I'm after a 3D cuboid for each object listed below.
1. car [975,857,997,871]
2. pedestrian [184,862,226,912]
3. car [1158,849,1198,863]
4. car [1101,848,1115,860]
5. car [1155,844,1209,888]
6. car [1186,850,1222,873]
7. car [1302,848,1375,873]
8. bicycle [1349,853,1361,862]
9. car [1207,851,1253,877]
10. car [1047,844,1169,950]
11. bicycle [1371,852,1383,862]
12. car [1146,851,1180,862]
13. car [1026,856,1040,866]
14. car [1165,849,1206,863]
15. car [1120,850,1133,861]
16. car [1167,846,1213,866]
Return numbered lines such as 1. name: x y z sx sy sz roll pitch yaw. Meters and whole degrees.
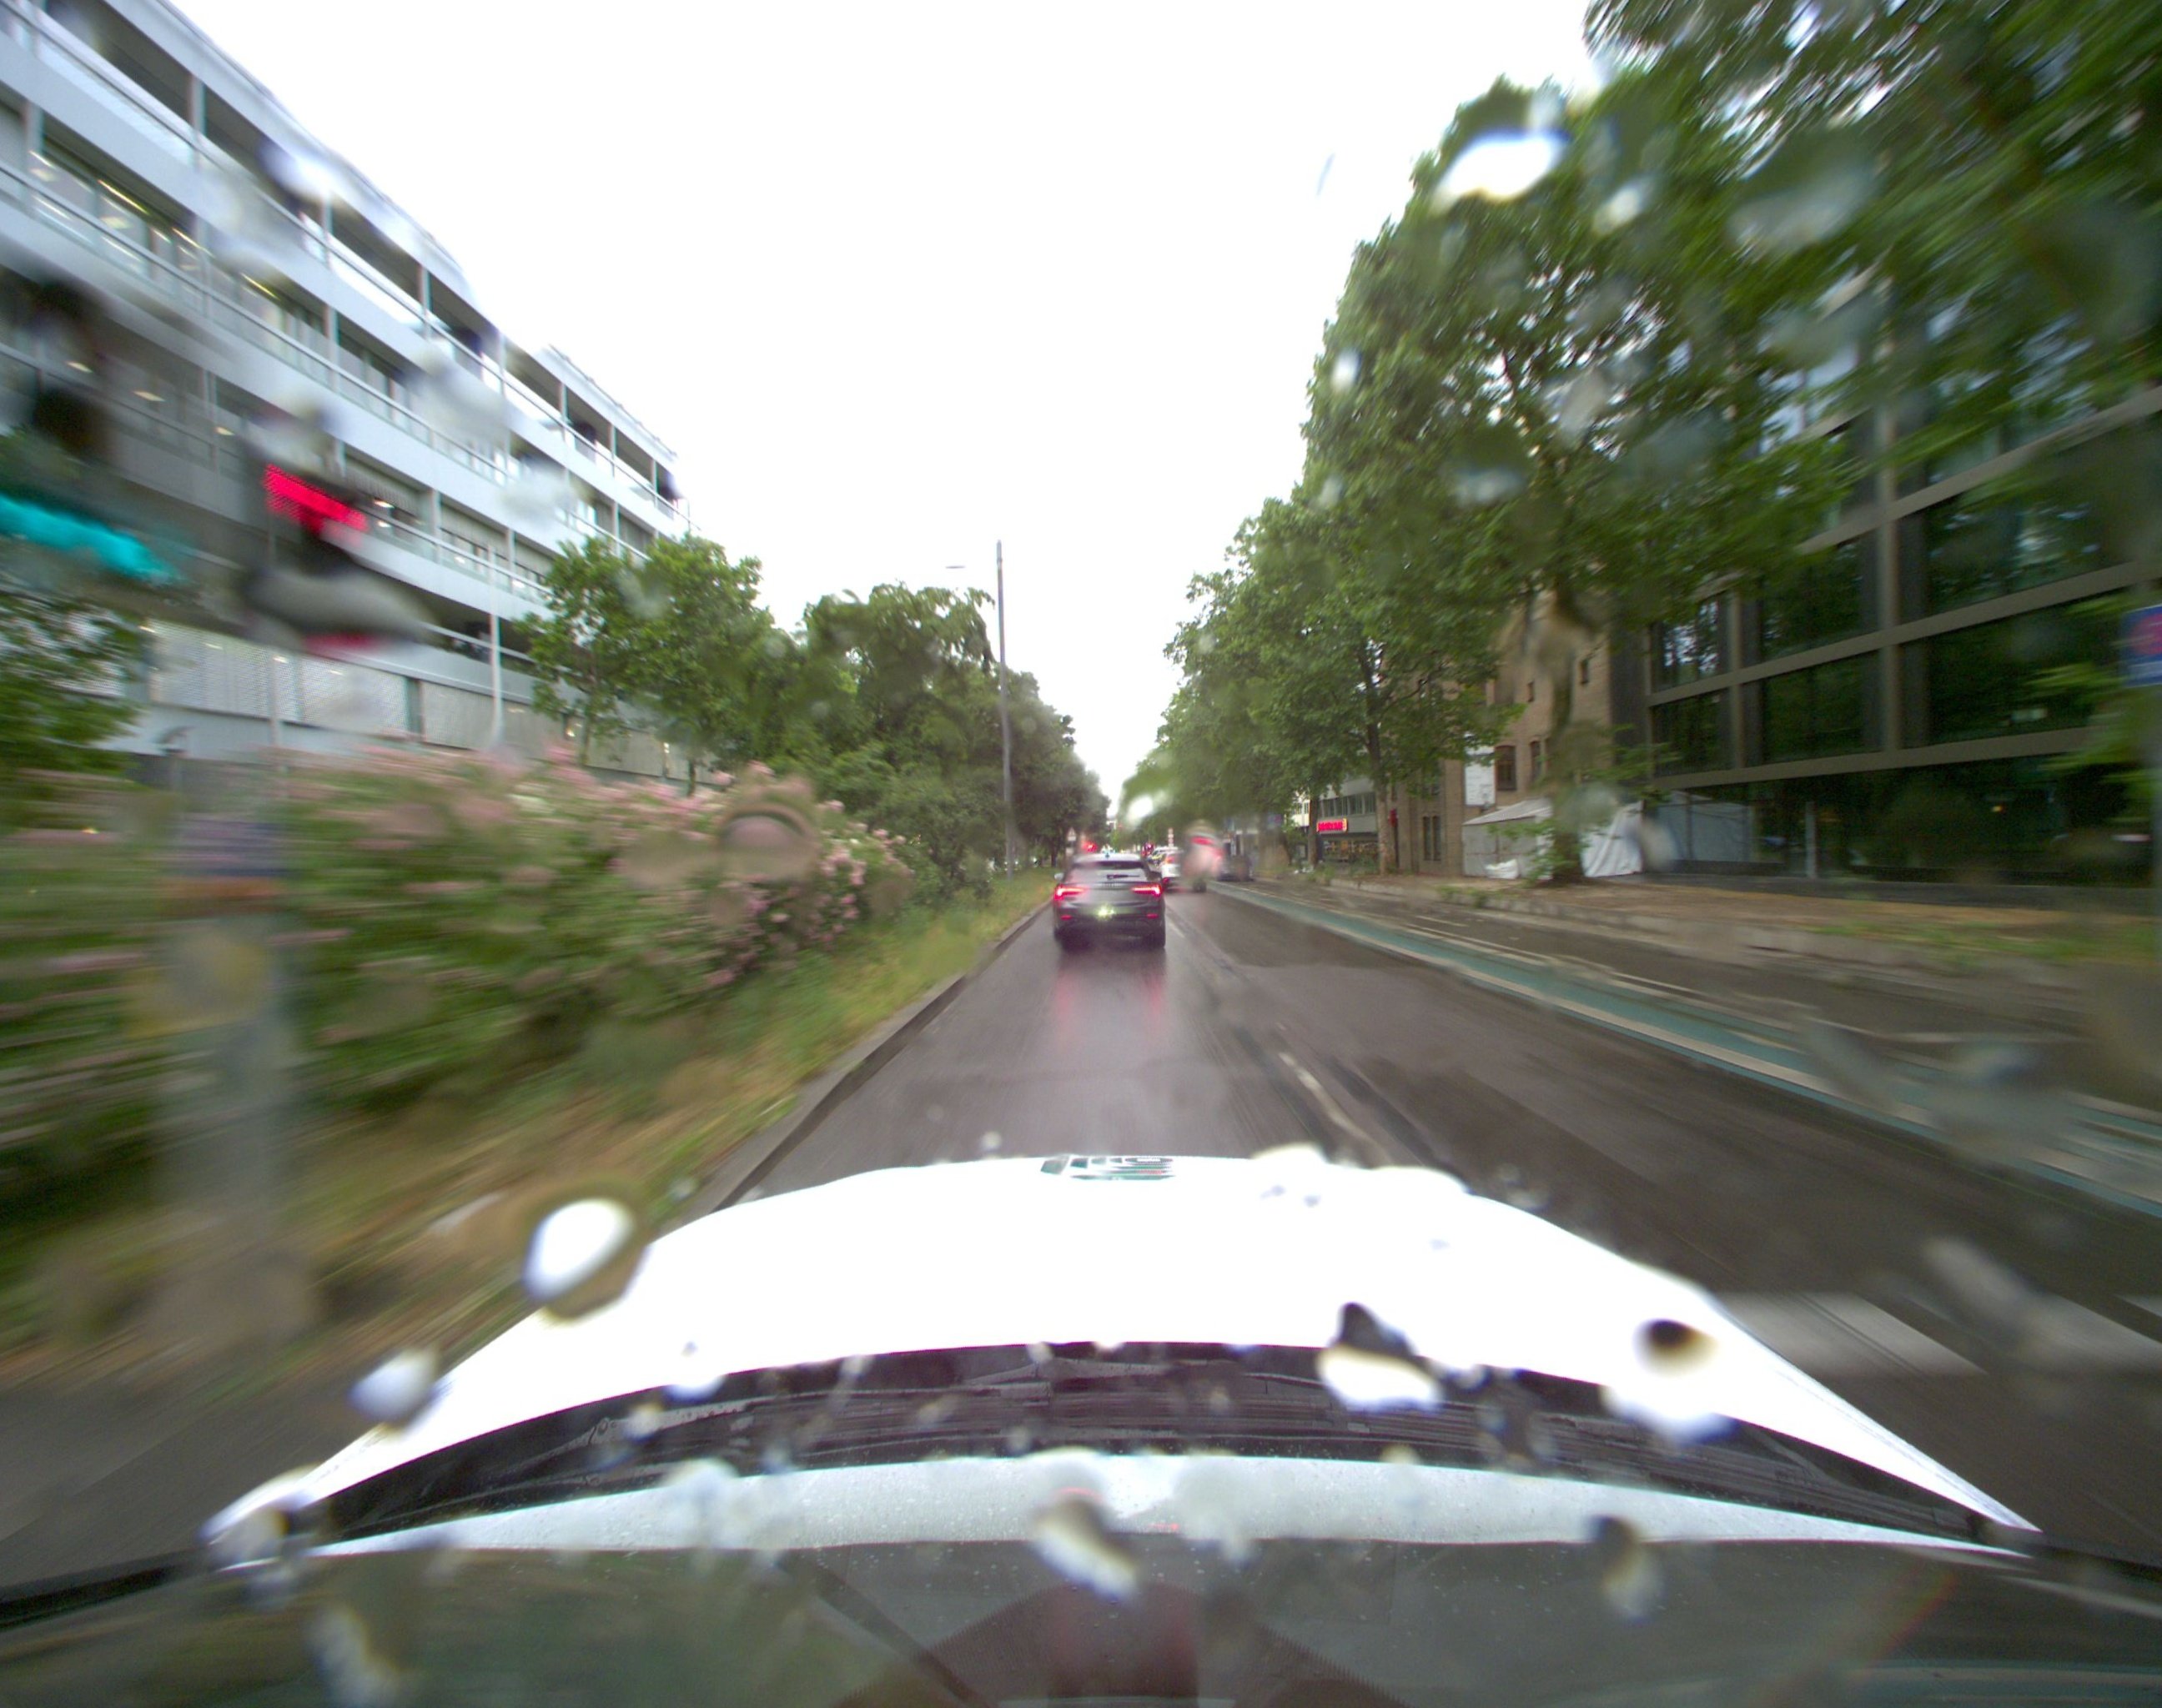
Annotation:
1. car: -10.231 1.044 87.809 1.642 1.435 3.814 -2 -1 3
2. pedestrian: -24.629 0.921 22.911 0.636 1.380 0.474 0 -1 -2
3. car: 12.453 0.236 104.403 4.594 1.706 2.012 0 -1 29
4. car: 4.024 -0.015 120.254 1.986 1.726 4.000 0 -1 1
5. car: 4.083 0.475 33.478 1.871 1.697 4.001 0 -1 1
6. car: 8.611 0.528 57.241 1.723 1.571 4.069 0 -1 -3
7. car: 11.476 0.306 36.313 2.856 1.074 1.465 0 -1 32
8. bicycle: 25.853 0.316 76.877 0.446 0.836 2.027 0 -1 2
9. car: 8.433 0.559 46.419 1.866 1.421 4.612 0 0 1
10. car: 0.434 0.660 14.466 1.843 1.602 4.000 -1 0 0
11. bicycle: 25.878 0.277 71.230 0.446 0.836 2.027 0 -1 2
12. car: 11.915 0.375 118.491 4.594 1.706 2.012 0 -1 29
13. car: -7.838 1.169 133.006 1.753 1.703 4.337 0 -1 4
14. car: 12.941 0.259 100.706 4.594 1.706 2.012 0 -1 29
15. car: 7.142 0.218 129.084 1.986 1.651 4.001 0 -1 2
16. car: 11.692 0.222 87.342 4.548 2.014 1.980 -1 -1 39
